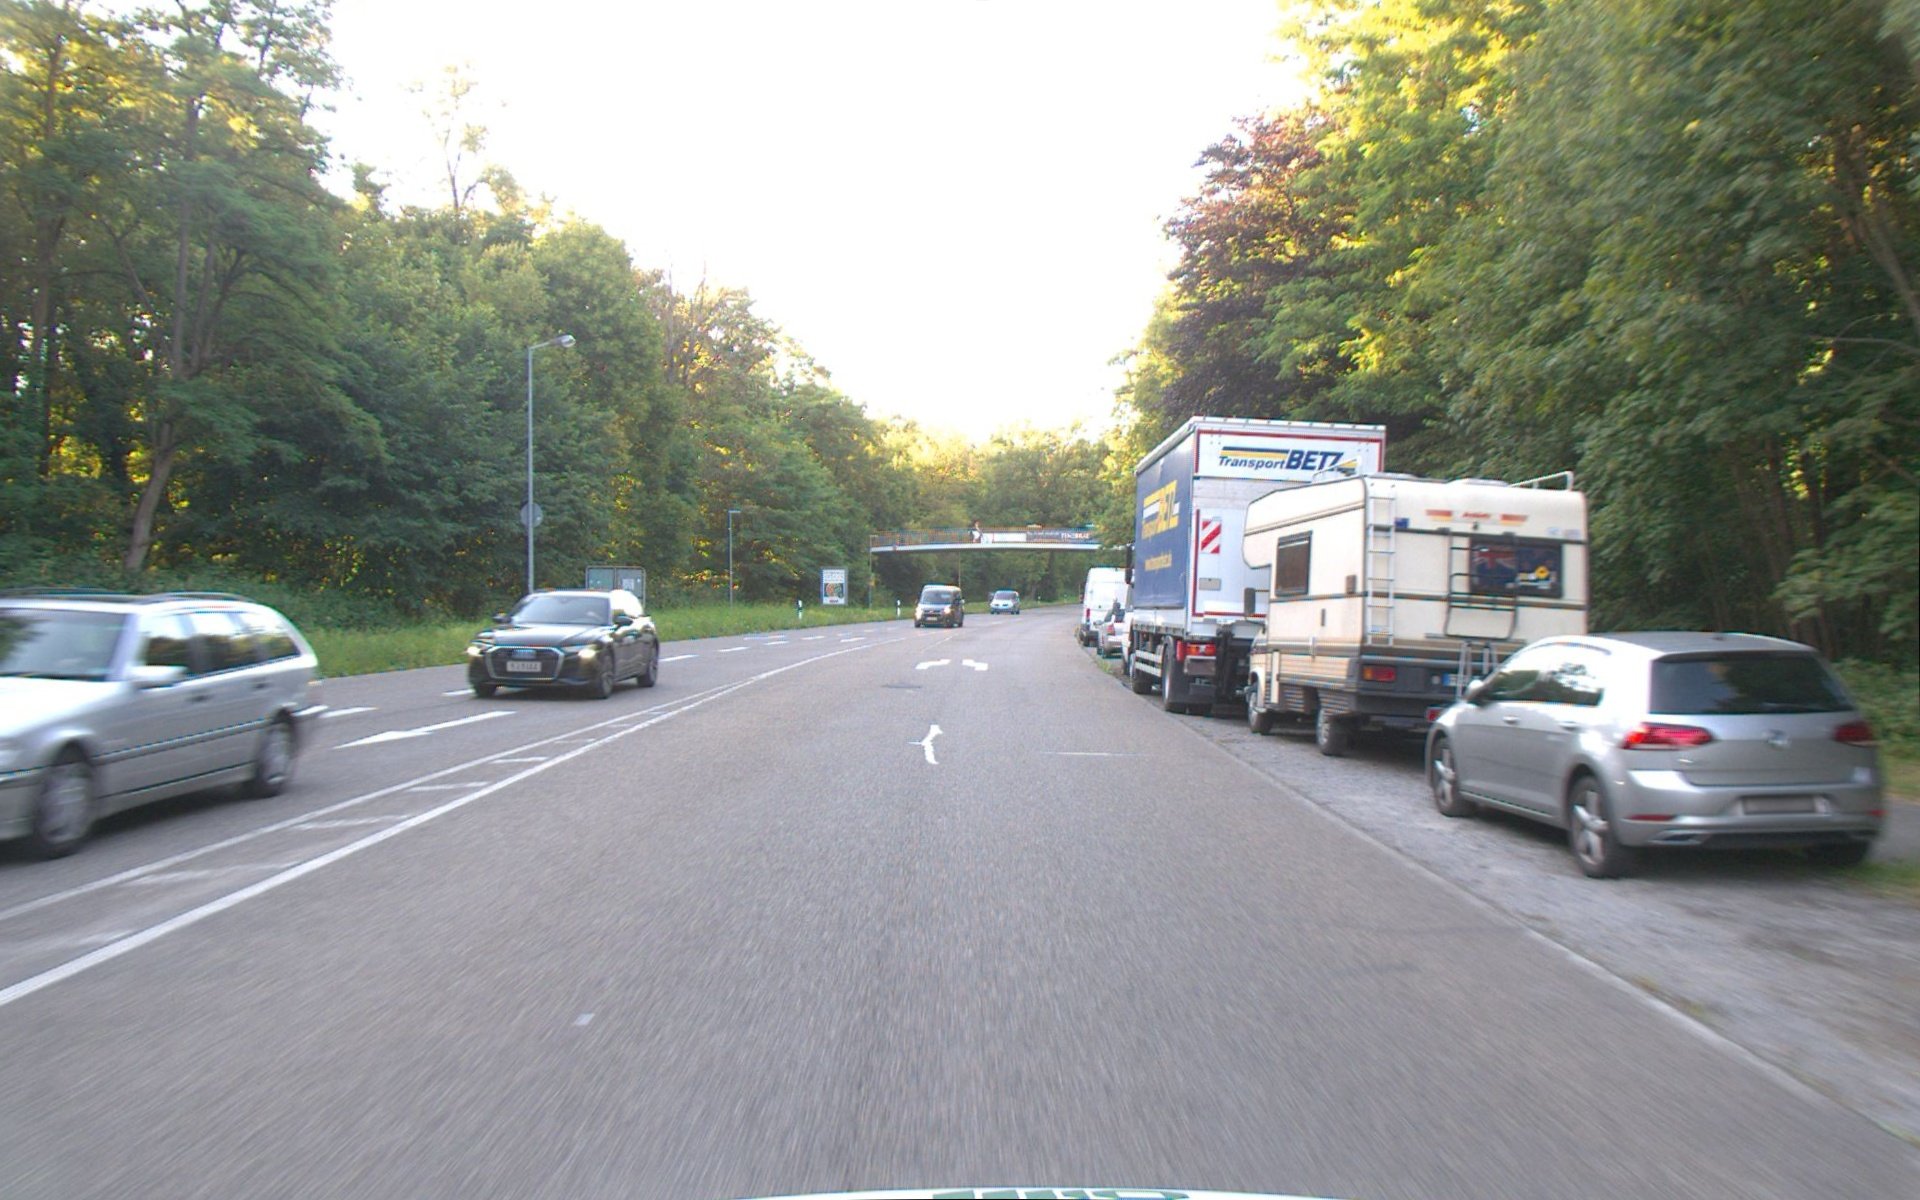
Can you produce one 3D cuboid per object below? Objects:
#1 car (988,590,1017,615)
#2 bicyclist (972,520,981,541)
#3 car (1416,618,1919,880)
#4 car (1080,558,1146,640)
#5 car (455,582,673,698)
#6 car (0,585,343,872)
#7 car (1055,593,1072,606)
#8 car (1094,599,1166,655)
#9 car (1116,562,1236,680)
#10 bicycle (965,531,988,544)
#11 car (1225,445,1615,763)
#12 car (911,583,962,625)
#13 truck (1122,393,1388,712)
[{"bbox_3d":[3.232,0.167,125.060,1.804,1.766,4.003,2,0,6],"label":"car"},{"bbox_3d":[1.342,-5.562,132.658,0.650,1.609,0.548,1,0,8],"label":"bicyclist"},{"bbox_3d":[4.632,0.876,11.487,1.664,1.430,4.074,0,0,-2],"label":"car"},{"bbox_3d":[5.172,-0.040,56.612,1.923,2.555,6.018,3,0,3],"label":"car"},{"bbox_3d":[-5.636,0.516,24.195,1.852,1.465,4.771,2,0,2],"label":"car"},{"bbox_3d":[-5.600,0.626,10.432,1.684,1.422,4.376,0,1,1],"label":"car"},{"bbox_3d":[12.265,-0.074,195.253,1.851,1.473,4.113,0,0,6],"label":"car"},{"bbox_3d":[4.659,0.710,45.767,1.648,1.396,4.271,3,0,2],"label":"car"},{"bbox_3d":[4.480,0.404,35.039,1.952,2.227,4.929,3,0,2],"label":"car"},{"bbox_3d":[1.325,-5.010,132.665,1.805,0.965,0.551,1,0,8],"label":"bicycle"},{"bbox_3d":[4.757,0.040,18.316,2.360,2.908,5.929,1,0,-3],"label":"car"},{"bbox_3d":[-1.055,0.185,76.801,1.804,1.831,4.751,1,0,6],"label":"car"},{"bbox_3d":[4.294,-0.647,26.271,2.603,4.098,9.723,1,0,1],"label":"truck"}]
